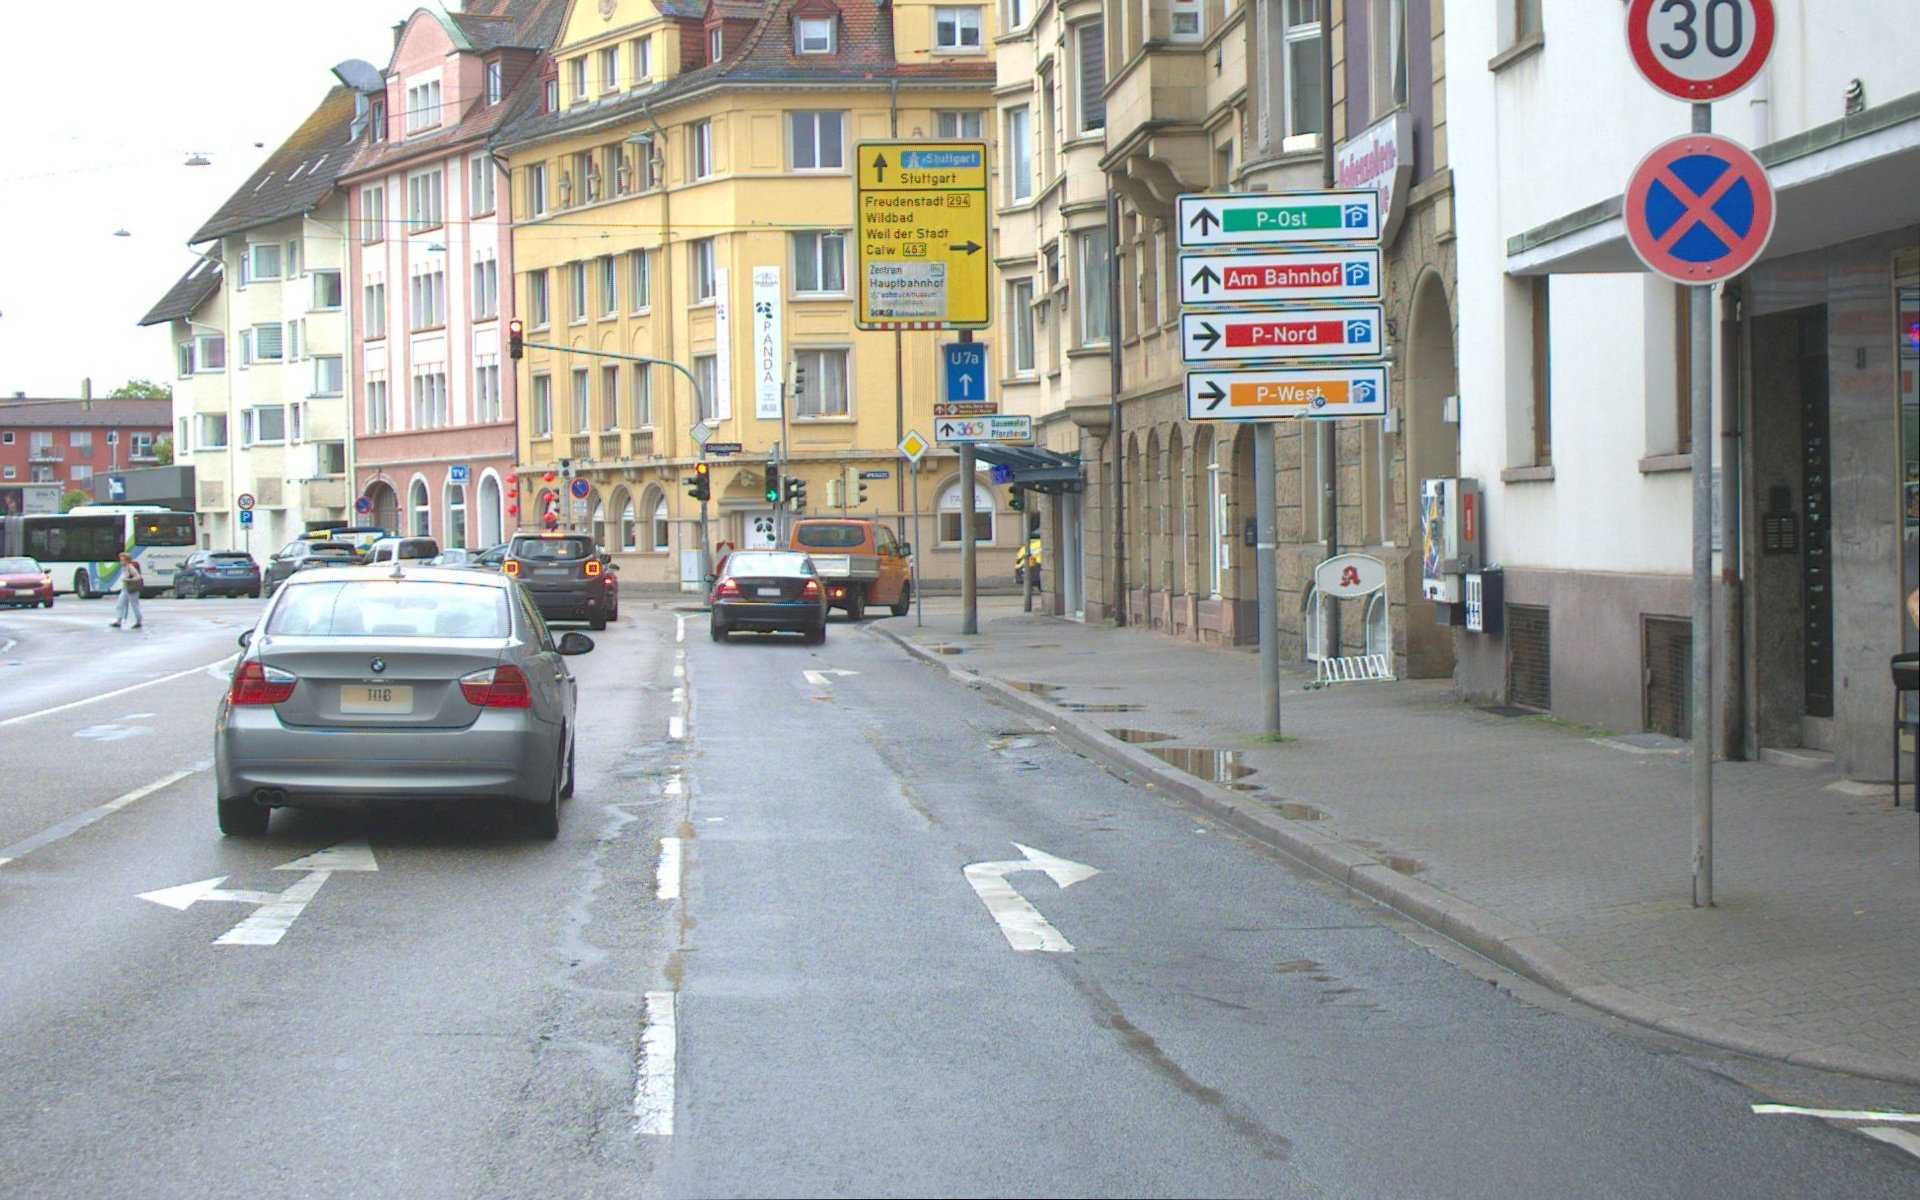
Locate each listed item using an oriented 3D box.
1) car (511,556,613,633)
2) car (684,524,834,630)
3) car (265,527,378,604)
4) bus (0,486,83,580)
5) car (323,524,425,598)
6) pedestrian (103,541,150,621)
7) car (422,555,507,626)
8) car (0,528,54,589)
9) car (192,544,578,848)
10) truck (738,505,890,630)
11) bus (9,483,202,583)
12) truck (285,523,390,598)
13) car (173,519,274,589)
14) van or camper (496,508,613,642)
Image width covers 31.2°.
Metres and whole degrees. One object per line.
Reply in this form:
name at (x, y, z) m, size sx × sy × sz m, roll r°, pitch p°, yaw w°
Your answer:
car at (-7.528, -0.110, 64.770) m, size 1.802 × 1.401 × 4.685 m, roll 0°, pitch 0°, yaw -8°
car at (-3.105, -0.341, 52.426) m, size 1.799 × 1.558 × 4.001 m, roll 0°, pitch 0°, yaw -10°
car at (-17.201, -0.941, 92.537) m, size 1.993 × 2.007 × 4.001 m, roll -1°, pitch 1°, yaw -26°
bus at (-34.041, -2.231, 116.397) m, size 8.857 × 3.094 × 2.913 m, roll 0°, pitch 1°, yaw 30°
car at (-18.098, -1.212, 106.115) m, size 1.761 × 2.173 × 4.000 m, roll 2°, pitch 0°, yaw -30°
pedestrian at (-16.162, -0.361, 66.653) m, size 0.760 × 1.524 × 0.508 m, roll 1°, pitch -1°, yaw -25°
car at (-12.985, -0.245, 90.246) m, size 1.993 × 1.809 × 4.001 m, roll -1°, pitch 0°, yaw -6°
car at (-26.560, -1.162, 95.689) m, size 1.844 × 1.678 × 4.001 m, roll 0°, pitch 1°, yaw -26°
car at (-3.040, 0.436, 18.933) m, size 1.799 × 1.459 × 4.372 m, roll 1°, pitch 1°, yaw -6°
truck at (-2.692, -0.627, 64.711) m, size 2.225 × 2.242 × 5.062 m, roll 0°, pitch 1°, yaw 5°
bus at (-27.783, -2.144, 111.478) m, size 2.909 × 3.094 × 9.142 m, roll -2°, pitch 1°, yaw -35°
truck at (-20.244, -1.293, 111.714) m, size 2.026 × 2.381 × 4.237 m, roll 0°, pitch 1°, yaw -30°
car at (-21.716, -1.356, 101.224) m, size 1.993 × 2.007 × 4.001 m, roll -1°, pitch 1°, yaw -26°
van or camper at (-6.877, -0.449, 58.004) m, size 1.854 × 2.139 × 4.143 m, roll -1°, pitch 1°, yaw -8°
